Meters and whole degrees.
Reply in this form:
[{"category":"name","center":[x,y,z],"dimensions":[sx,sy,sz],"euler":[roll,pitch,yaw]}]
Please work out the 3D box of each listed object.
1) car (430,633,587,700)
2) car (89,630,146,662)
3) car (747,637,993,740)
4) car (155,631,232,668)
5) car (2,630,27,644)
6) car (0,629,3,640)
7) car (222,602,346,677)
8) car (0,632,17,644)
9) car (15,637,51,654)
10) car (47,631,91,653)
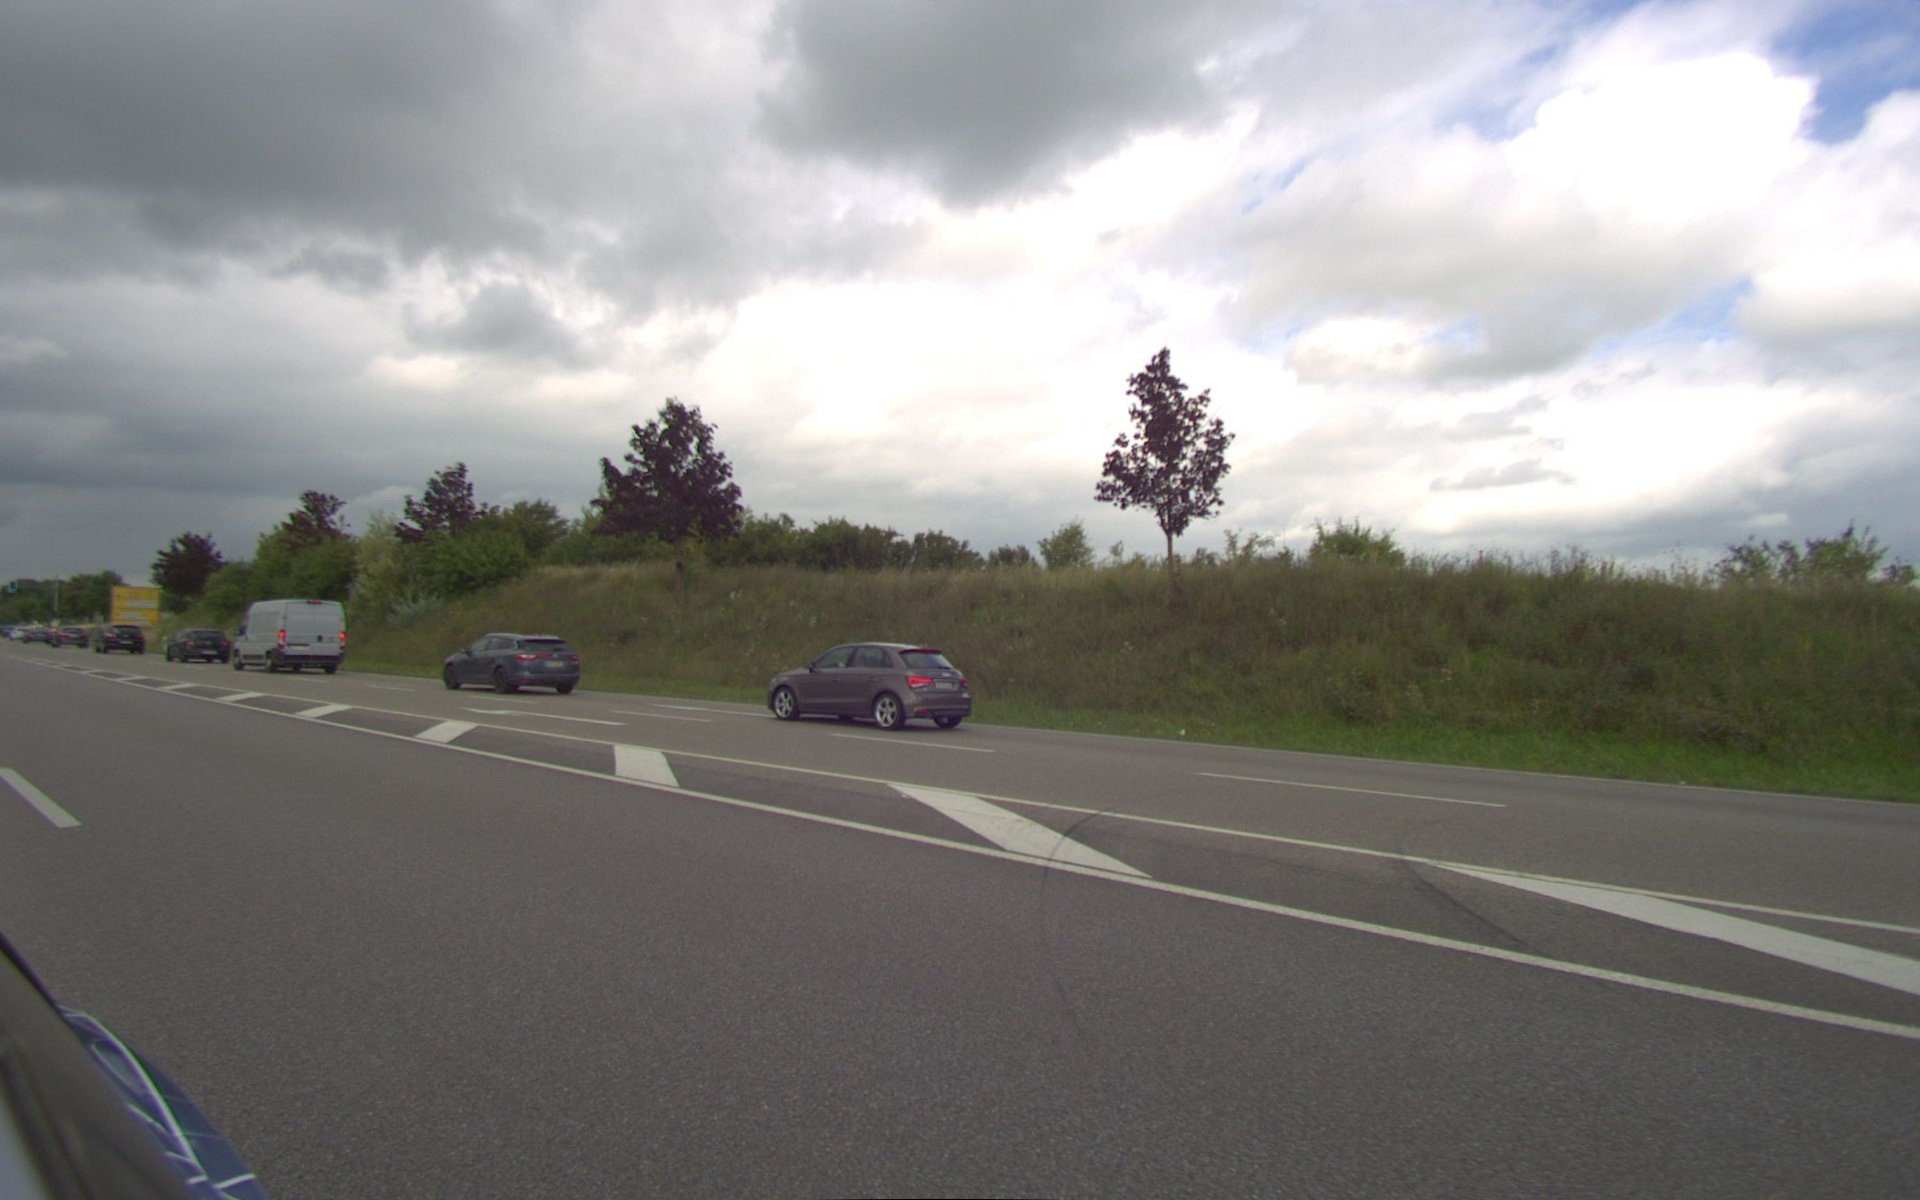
[{"category":"car","center":[-11.341,1.623,25.299],"dimensions":[4.544,1.542,1.715],"euler":[-2,-4,40]},{"category":"car","center":[-47.289,2.563,56.778],"dimensions":[4.515,1.647,1.775],"euler":[-2,-5,42]},{"category":"car","center":[-1.611,1.432,17.295],"dimensions":[4.190,1.542,1.715],"euler":[-2,-4,40]},{"category":"car","center":[-33.322,2.135,43.968],"dimensions":[4.190,1.542,1.715],"euler":[-2,-4,40]},{"category":"car","center":[-101.305,3.987,108.457],"dimensions":[4.055,1.425,1.590],"euler":[-2,-4,42]},{"category":"car","center":[-159.865,5.726,167.553],"dimensions":[4.129,1.729,1.830],"euler":[-2,-3,43]},{"category":"car","center":[-23.889,1.410,35.672],"dimensions":[5.630,2.458,2.012],"euler":[-2,-5,40]},{"category":"car","center":[-123.184,4.916,130.727],"dimensions":[4.661,1.492,1.704],"euler":[-2,-5,45]},{"category":"car","center":[-81.461,3.991,88.889],"dimensions":[4.704,1.416,1.775],"euler":[-2,-6,42]},{"category":"car","center":[-64.071,3.014,72.763],"dimensions":[4.704,1.523,1.775],"euler":[-2,-5,42]}]
